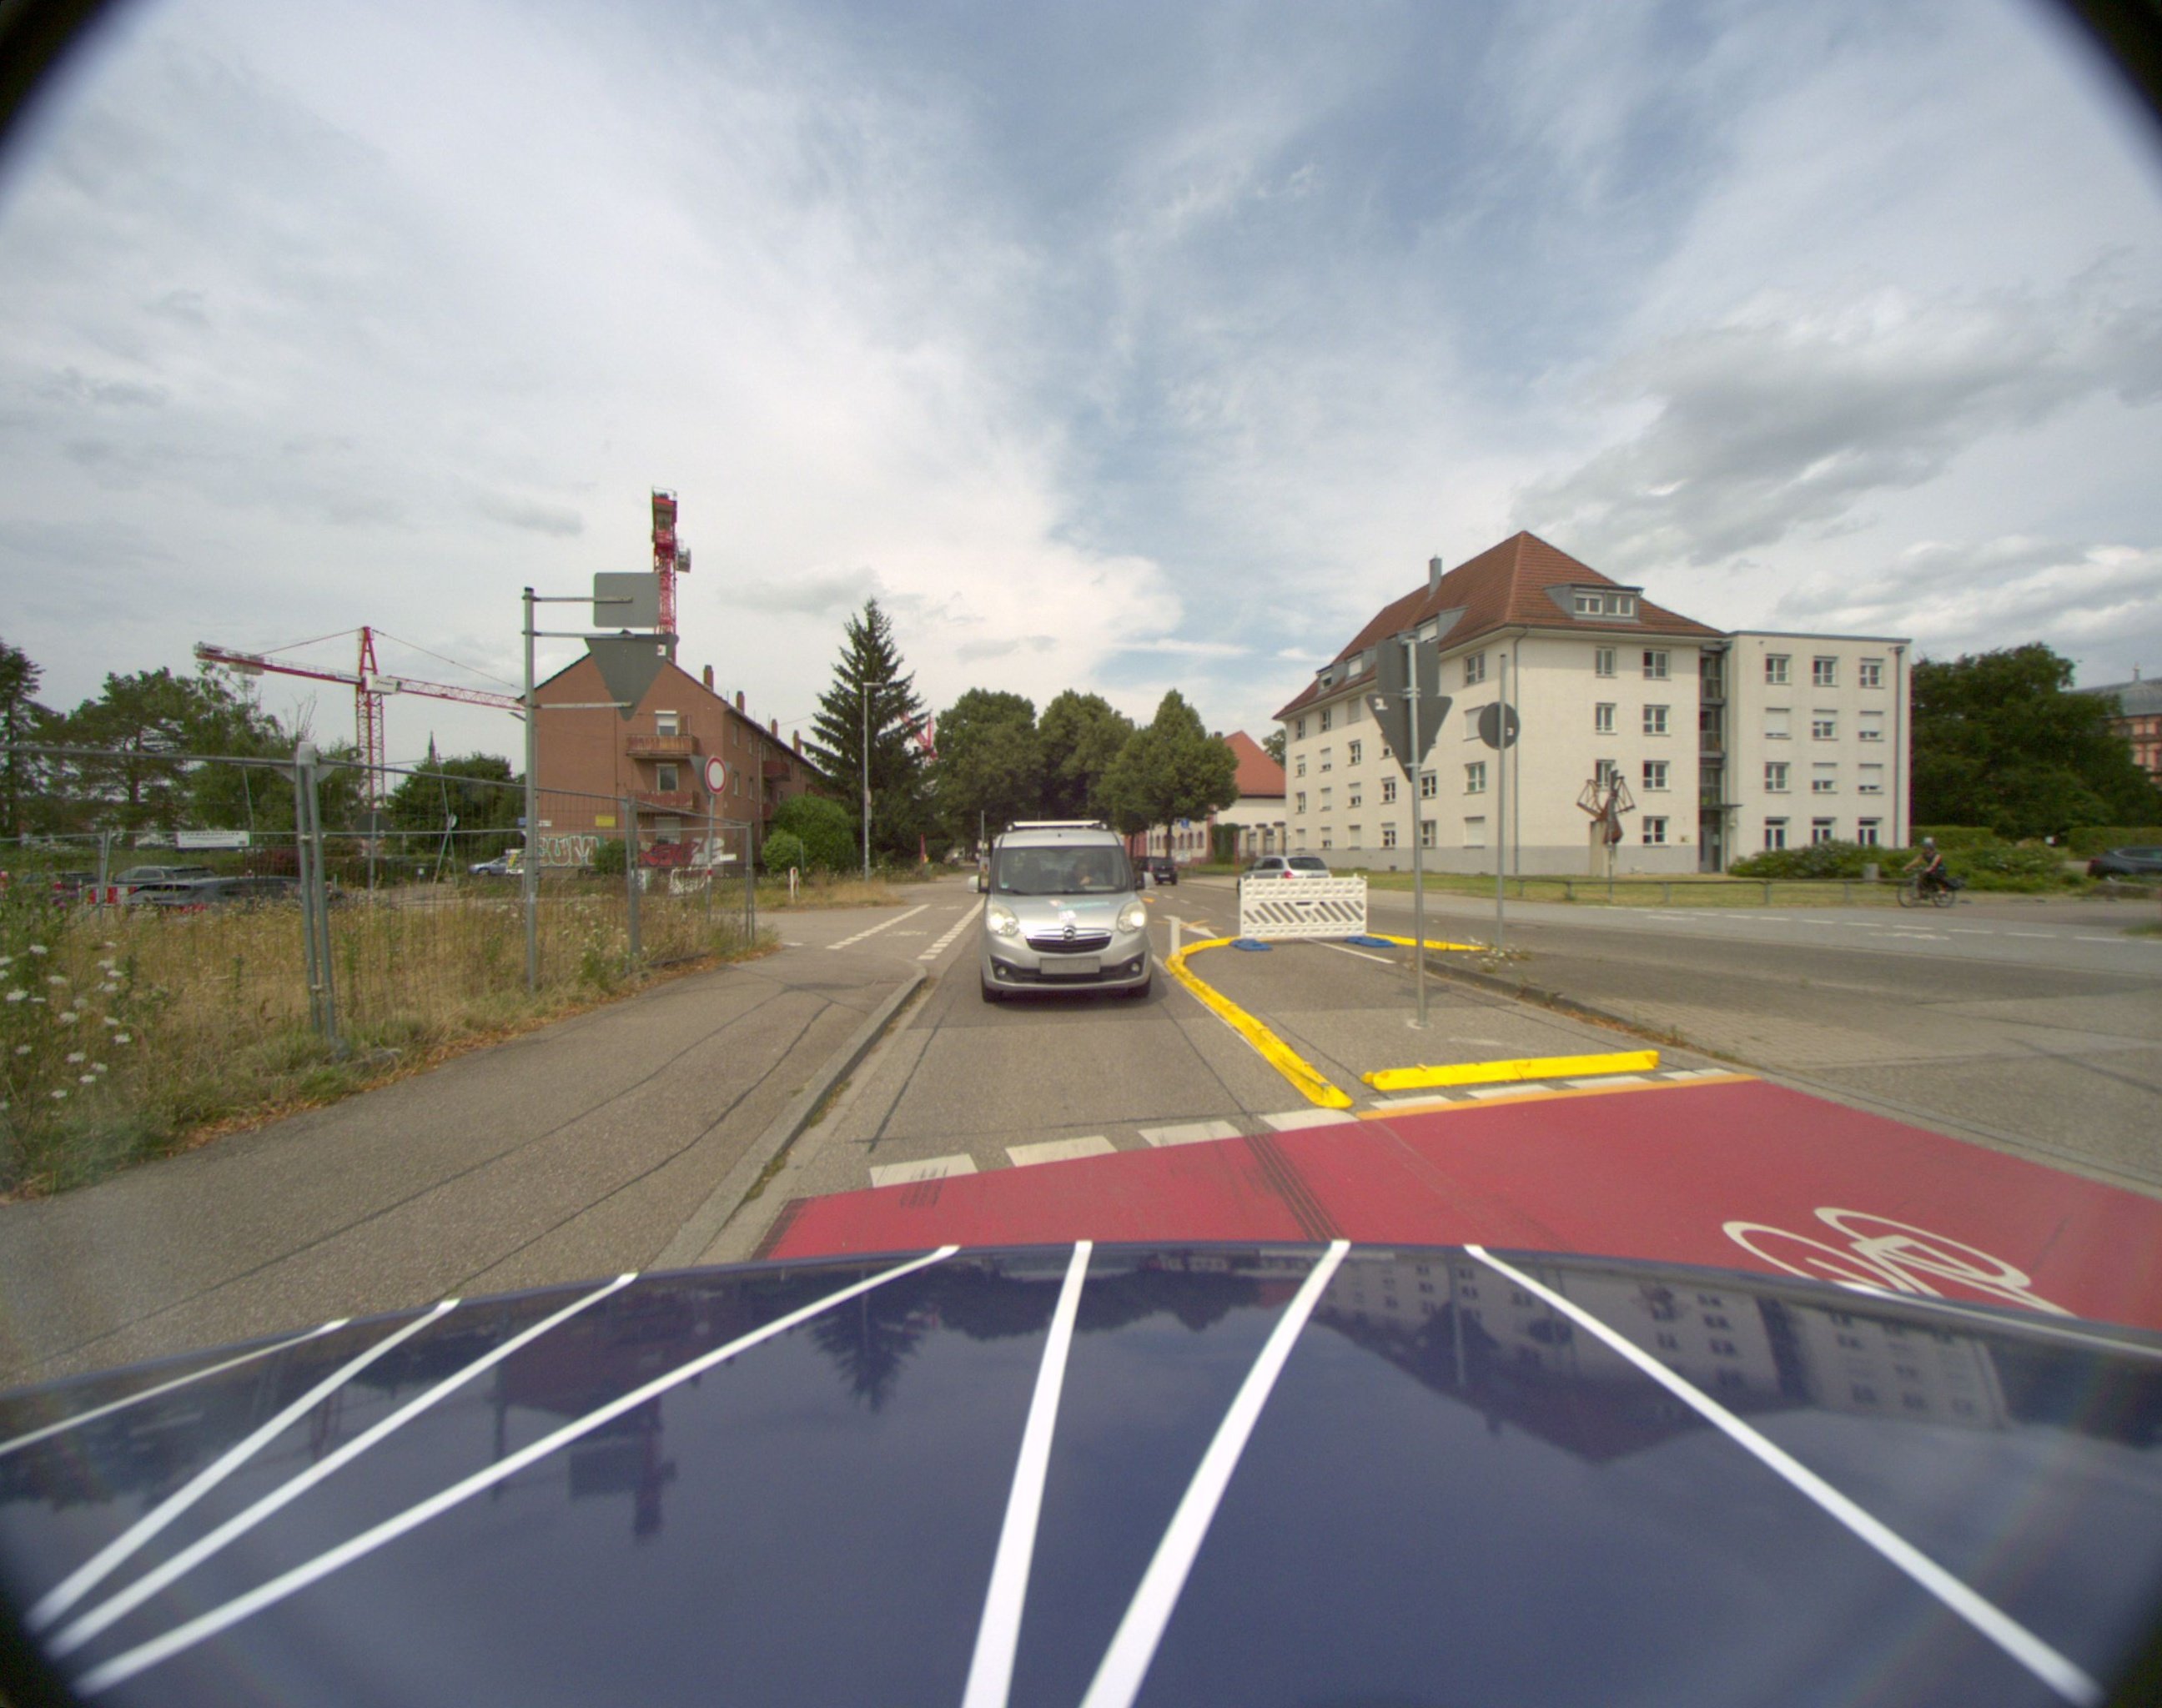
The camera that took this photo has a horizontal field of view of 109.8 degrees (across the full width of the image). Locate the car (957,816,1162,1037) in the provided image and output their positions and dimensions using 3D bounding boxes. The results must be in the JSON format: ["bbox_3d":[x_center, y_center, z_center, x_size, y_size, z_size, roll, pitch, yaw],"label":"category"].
[{"bbox_3d":[-0.364,0.620,9.076,1.810,1.936,4.582,-1,1,-5],"label":"car"}]

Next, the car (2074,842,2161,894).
[{"bbox_3d":[37.778,0.481,25.807,2.000,1.754,4.495,-1,1,-11],"label":"car"}]

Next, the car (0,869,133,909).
[{"bbox_3d":[-42.779,1.452,32.055,4.007,1.593,1.803,-1,1,11],"label":"car"}]

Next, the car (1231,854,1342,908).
[{"bbox_3d":[6.340,0.785,23.934,1.629,1.510,4.213,-1,0,-12],"label":"car"}]

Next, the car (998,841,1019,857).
[{"bbox_3d":[-12.450,-0.884,130.256,2.073,2.670,5.959,-1,1,-21],"label":"car"}]

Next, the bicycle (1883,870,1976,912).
[{"bbox_3d":[21.988,0.949,19.703,1.828,1.040,0.602,-1,1,-3],"label":"bicycle"}]

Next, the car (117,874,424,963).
[{"bbox_3d":[-16.679,1.231,16.041,1.765,1.465,4.259,-1,1,3],"label":"car"}]

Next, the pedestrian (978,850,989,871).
[{"bbox_3d":[-9.452,0.620,73.613,0.856,2.002,0.731,-1,1,-17],"label":"pedestrian"}]

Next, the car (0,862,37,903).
[{"bbox_3d":[-47.844,1.246,32.685,4.007,1.739,1.859,-1,1,10],"label":"car"}]

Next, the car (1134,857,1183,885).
[{"bbox_3d":[3.958,0.852,39.302,1.632,1.406,3.719,1,0,-8],"label":"car"}]

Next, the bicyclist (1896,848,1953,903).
[{"bbox_3d":[21.849,0.546,19.691,0.803,1.415,0.602,-1,1,-3],"label":"bicyclist"}]

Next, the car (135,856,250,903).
[{"bbox_3d":[-37.353,1.038,31.958,3.991,1.838,1.804,0,1,20],"label":"car"}]

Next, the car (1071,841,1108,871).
[{"bbox_3d":[0.607,0.148,60.335,2.000,2.260,5.155,-1,0,-10],"label":"car"}]
